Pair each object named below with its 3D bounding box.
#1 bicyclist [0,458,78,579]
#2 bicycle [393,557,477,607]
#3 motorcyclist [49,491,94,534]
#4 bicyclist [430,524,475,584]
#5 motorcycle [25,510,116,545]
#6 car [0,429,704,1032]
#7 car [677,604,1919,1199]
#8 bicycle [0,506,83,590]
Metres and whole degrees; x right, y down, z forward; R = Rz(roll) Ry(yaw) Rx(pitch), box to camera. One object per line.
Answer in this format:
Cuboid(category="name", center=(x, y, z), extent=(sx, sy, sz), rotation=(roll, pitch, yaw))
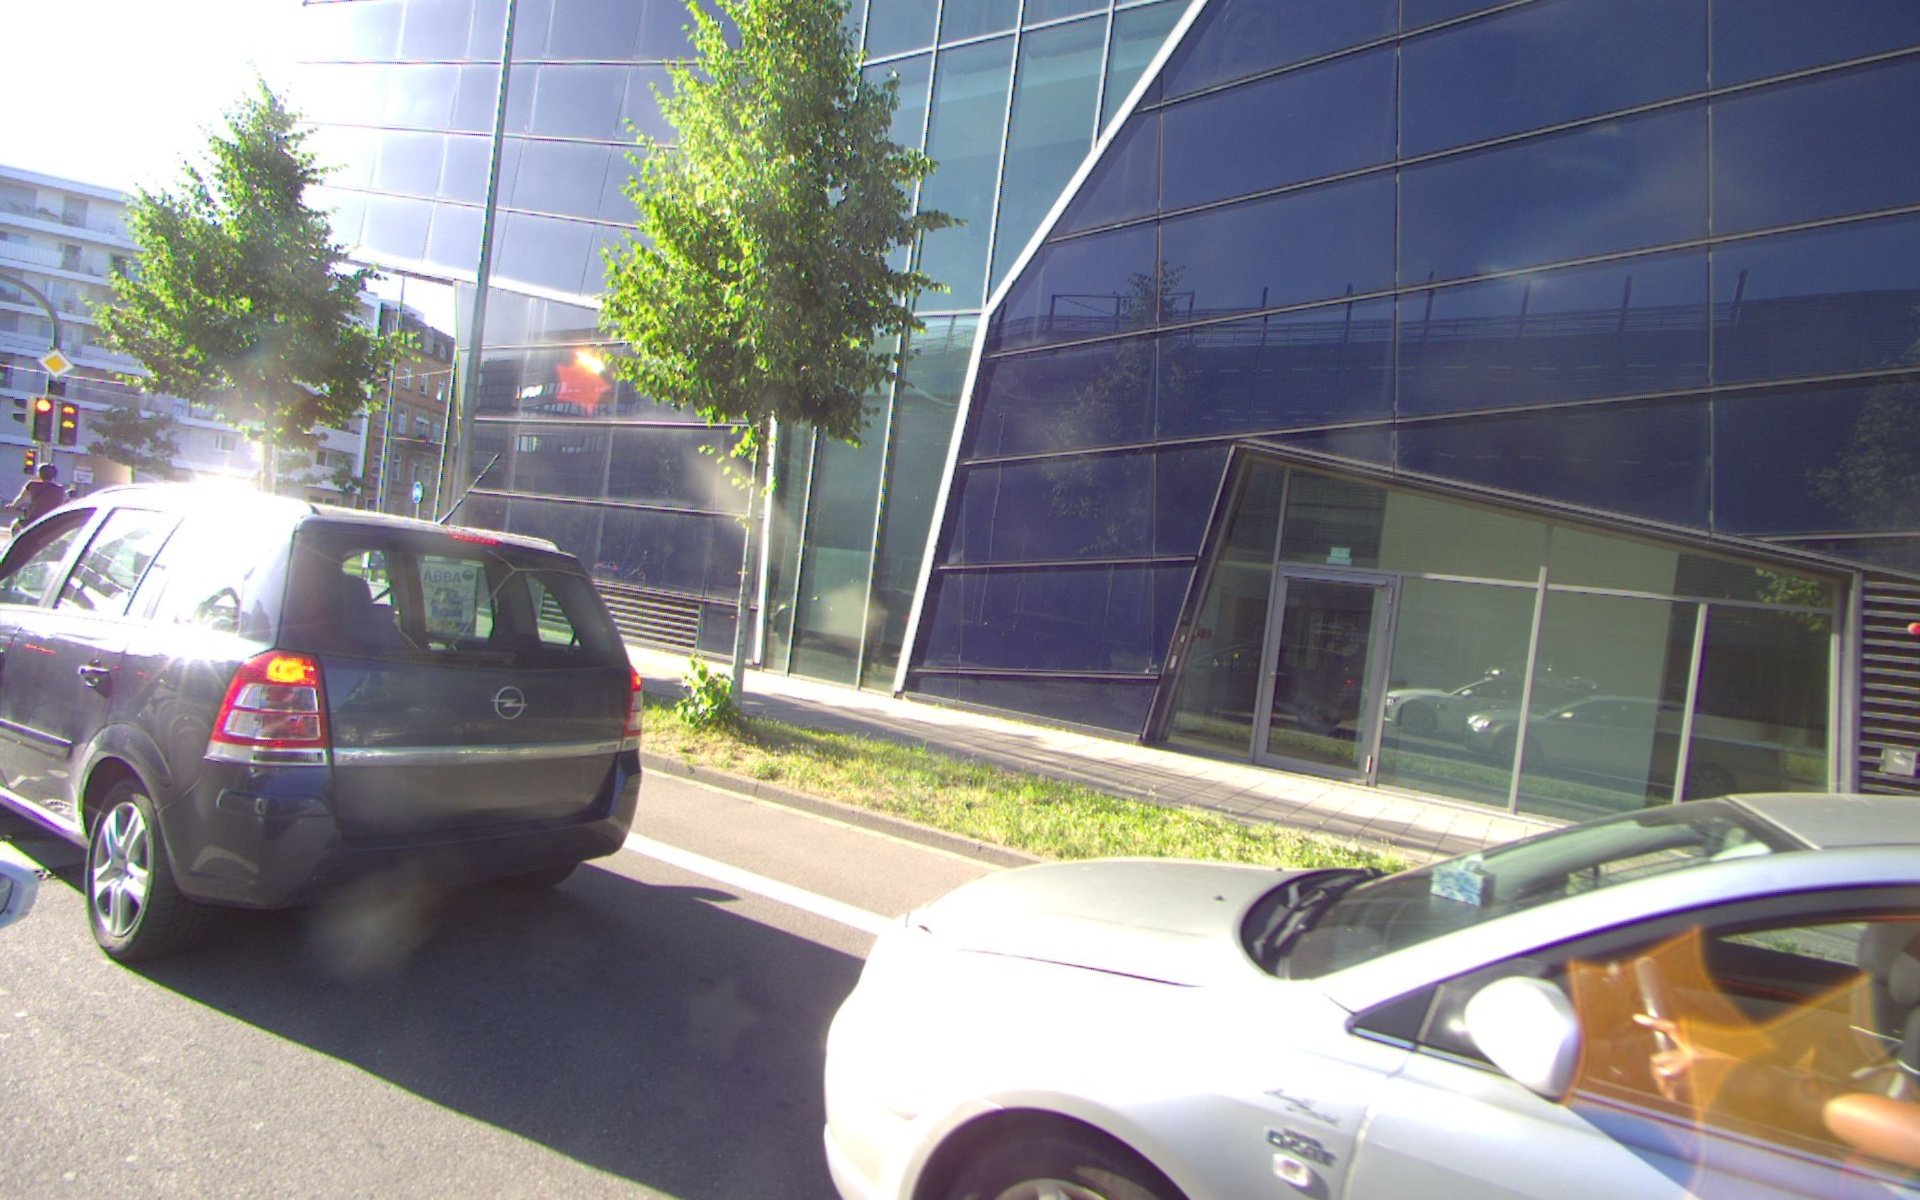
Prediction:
Cuboid(category="bicyclist", center=(-13.878, -1.224, 15.091), extent=(0.956, 1.663, 0.654), rotation=(8, 1, 35))
Cuboid(category="bicycle", center=(-16.324, -0.564, 31.318), extent=(2.046, 1.278, 0.767), rotation=(7, 1, -8))
Cuboid(category="motorcyclist", center=(-35.309, -3.473, 39.972), extent=(1.152, 1.500, 0.926), rotation=(7, 1, 31))
Cuboid(category="bicyclist", center=(-15.819, -1.413, 31.374), extent=(0.914, 1.728, 0.767), rotation=(7, 1, -8))
Cuboid(category="motorcycle", center=(-35.359, -2.862, 40.026), extent=(1.152, 1.013, 2.456), rotation=(7, 0, 31))
Cuboid(category="car", center=(-3.432, 0.253, 4.740), extent=(4.190, 1.716, 1.748), rotation=(7, -1, 32))
Cuboid(category="car", center=(1.769, 1.046, 1.779), extent=(4.554, 1.499, 1.747), rotation=(7, 0, 34))
Cuboid(category="bicycle", center=(-13.944, -0.801, 15.116), extent=(1.899, 1.056, 0.654), rotation=(8, 1, 35))
